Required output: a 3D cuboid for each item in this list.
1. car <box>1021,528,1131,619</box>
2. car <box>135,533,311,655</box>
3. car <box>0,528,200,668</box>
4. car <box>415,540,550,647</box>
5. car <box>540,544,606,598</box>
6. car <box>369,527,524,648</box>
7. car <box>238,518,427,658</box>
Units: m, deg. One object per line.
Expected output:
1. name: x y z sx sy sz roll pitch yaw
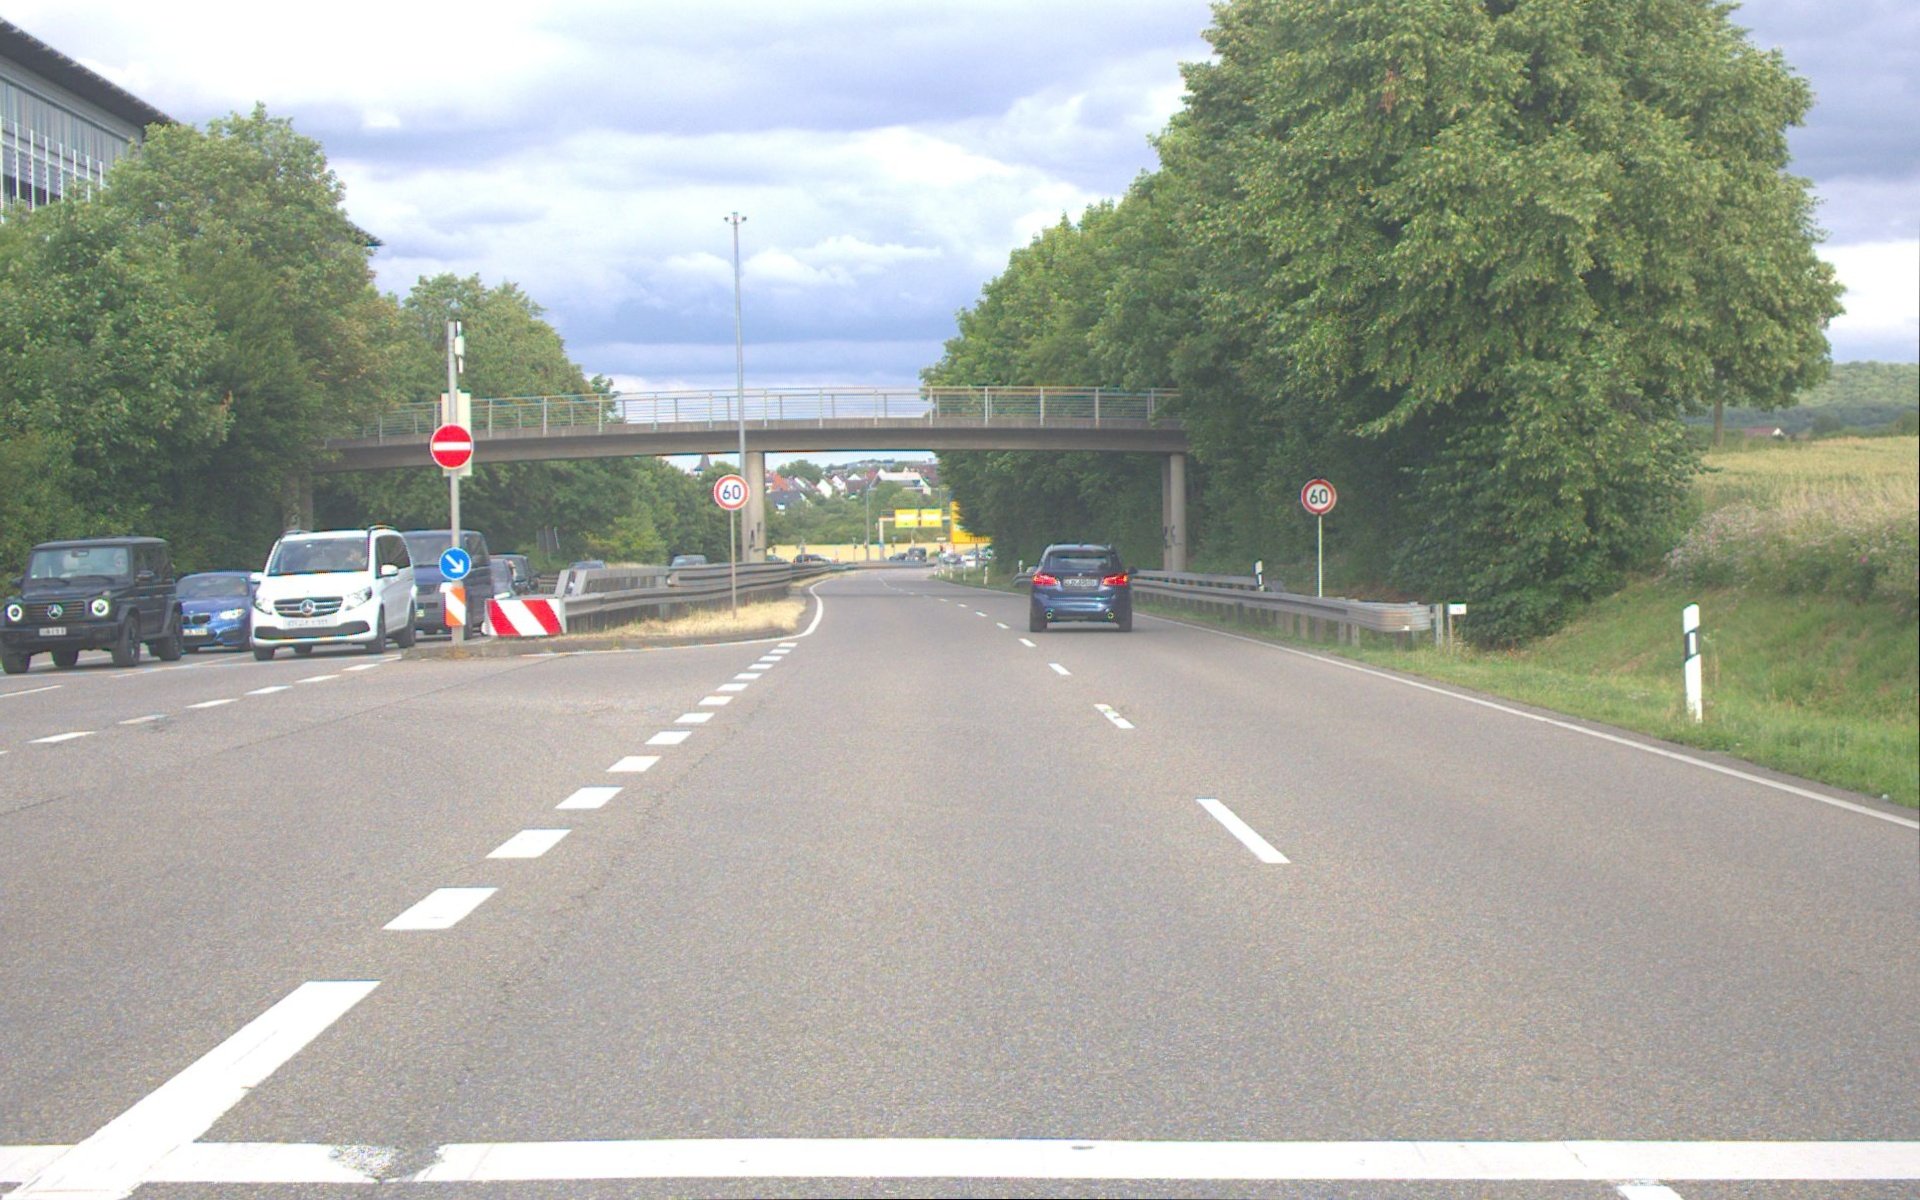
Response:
1. car: 2.064 -0.478 61.307 1.880 1.547 4.000 1 1 2
2. car: -12.811 -0.129 60.096 2.083 2.007 5.217 1 1 -2
3. car: -13.176 -0.055 52.595 2.083 2.007 5.217 1 1 -2
4. car: -9.391 -0.159 68.011 2.083 2.007 5.217 1 1 -2
5. car: -14.888 -1.127 132.508 2.083 2.007 5.217 1 1 -2
6. car: -8.967 -0.239 60.444 2.083 2.007 5.217 1 1 -2
7. car: -9.542 -0.209 52.706 2.083 2.007 5.217 1 1 -2
